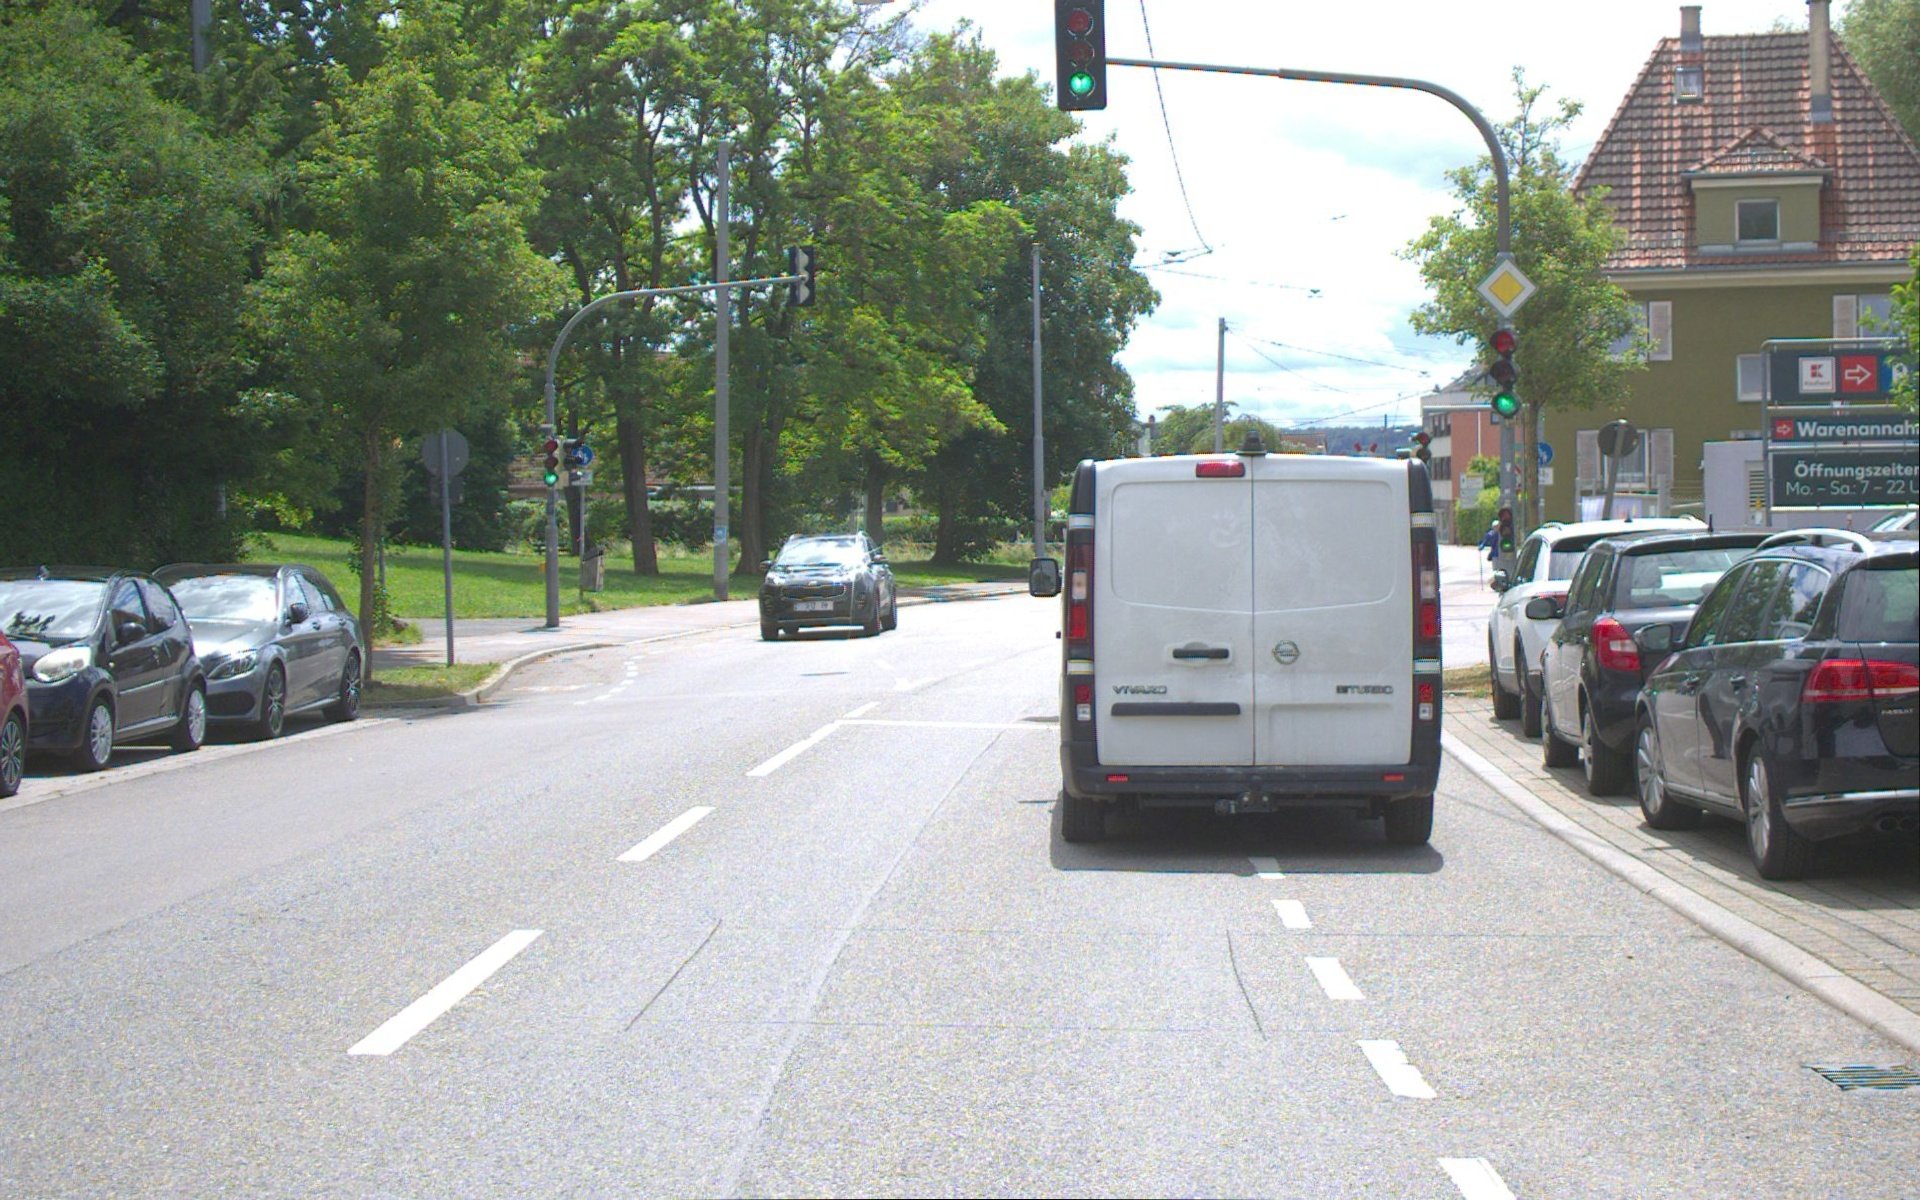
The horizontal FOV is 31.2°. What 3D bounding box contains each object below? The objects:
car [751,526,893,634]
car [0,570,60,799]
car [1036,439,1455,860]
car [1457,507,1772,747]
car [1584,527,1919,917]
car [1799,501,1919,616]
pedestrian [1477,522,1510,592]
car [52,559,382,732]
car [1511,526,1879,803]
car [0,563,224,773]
[{"bbox_3d":[-2.168,-0.349,55.098,1.833,1.611,4.152,-2,1,3],"label":"car"},{"bbox_3d":[-6.939,0.549,21.034,1.649,1.445,4.105,0,1,2],"label":"car"},{"bbox_3d":[1.412,0.188,18.669,1.939,1.954,4.833,1,1,2],"label":"car"},{"bbox_3d":[4.978,0.163,26.679,1.737,1.611,4.386,-3,1,3],"label":"car"},{"bbox_3d":[4.254,0.433,16.056,1.764,1.472,4.936,-4,1,1],"label":"car"},{"bbox_3d":[14.543,-0.671,50.574,3.987,1.601,1.608,-2,1,4],"label":"car"},{"bbox_3d":[12.012,-0.968,77.454,0.678,1.548,0.835,-2,-1,9],"label":"pedestrian"},{"bbox_3d":[-6.418,0.336,30.193,1.695,1.361,4.686,1,1,2],"label":"car"},{"bbox_3d":[4.397,0.328,21.082,1.568,1.488,4.000,-2,1,3],"label":"car"},{"bbox_3d":[-6.841,0.458,25.905,1.595,1.445,3.595,0,1,4],"label":"car"}]
